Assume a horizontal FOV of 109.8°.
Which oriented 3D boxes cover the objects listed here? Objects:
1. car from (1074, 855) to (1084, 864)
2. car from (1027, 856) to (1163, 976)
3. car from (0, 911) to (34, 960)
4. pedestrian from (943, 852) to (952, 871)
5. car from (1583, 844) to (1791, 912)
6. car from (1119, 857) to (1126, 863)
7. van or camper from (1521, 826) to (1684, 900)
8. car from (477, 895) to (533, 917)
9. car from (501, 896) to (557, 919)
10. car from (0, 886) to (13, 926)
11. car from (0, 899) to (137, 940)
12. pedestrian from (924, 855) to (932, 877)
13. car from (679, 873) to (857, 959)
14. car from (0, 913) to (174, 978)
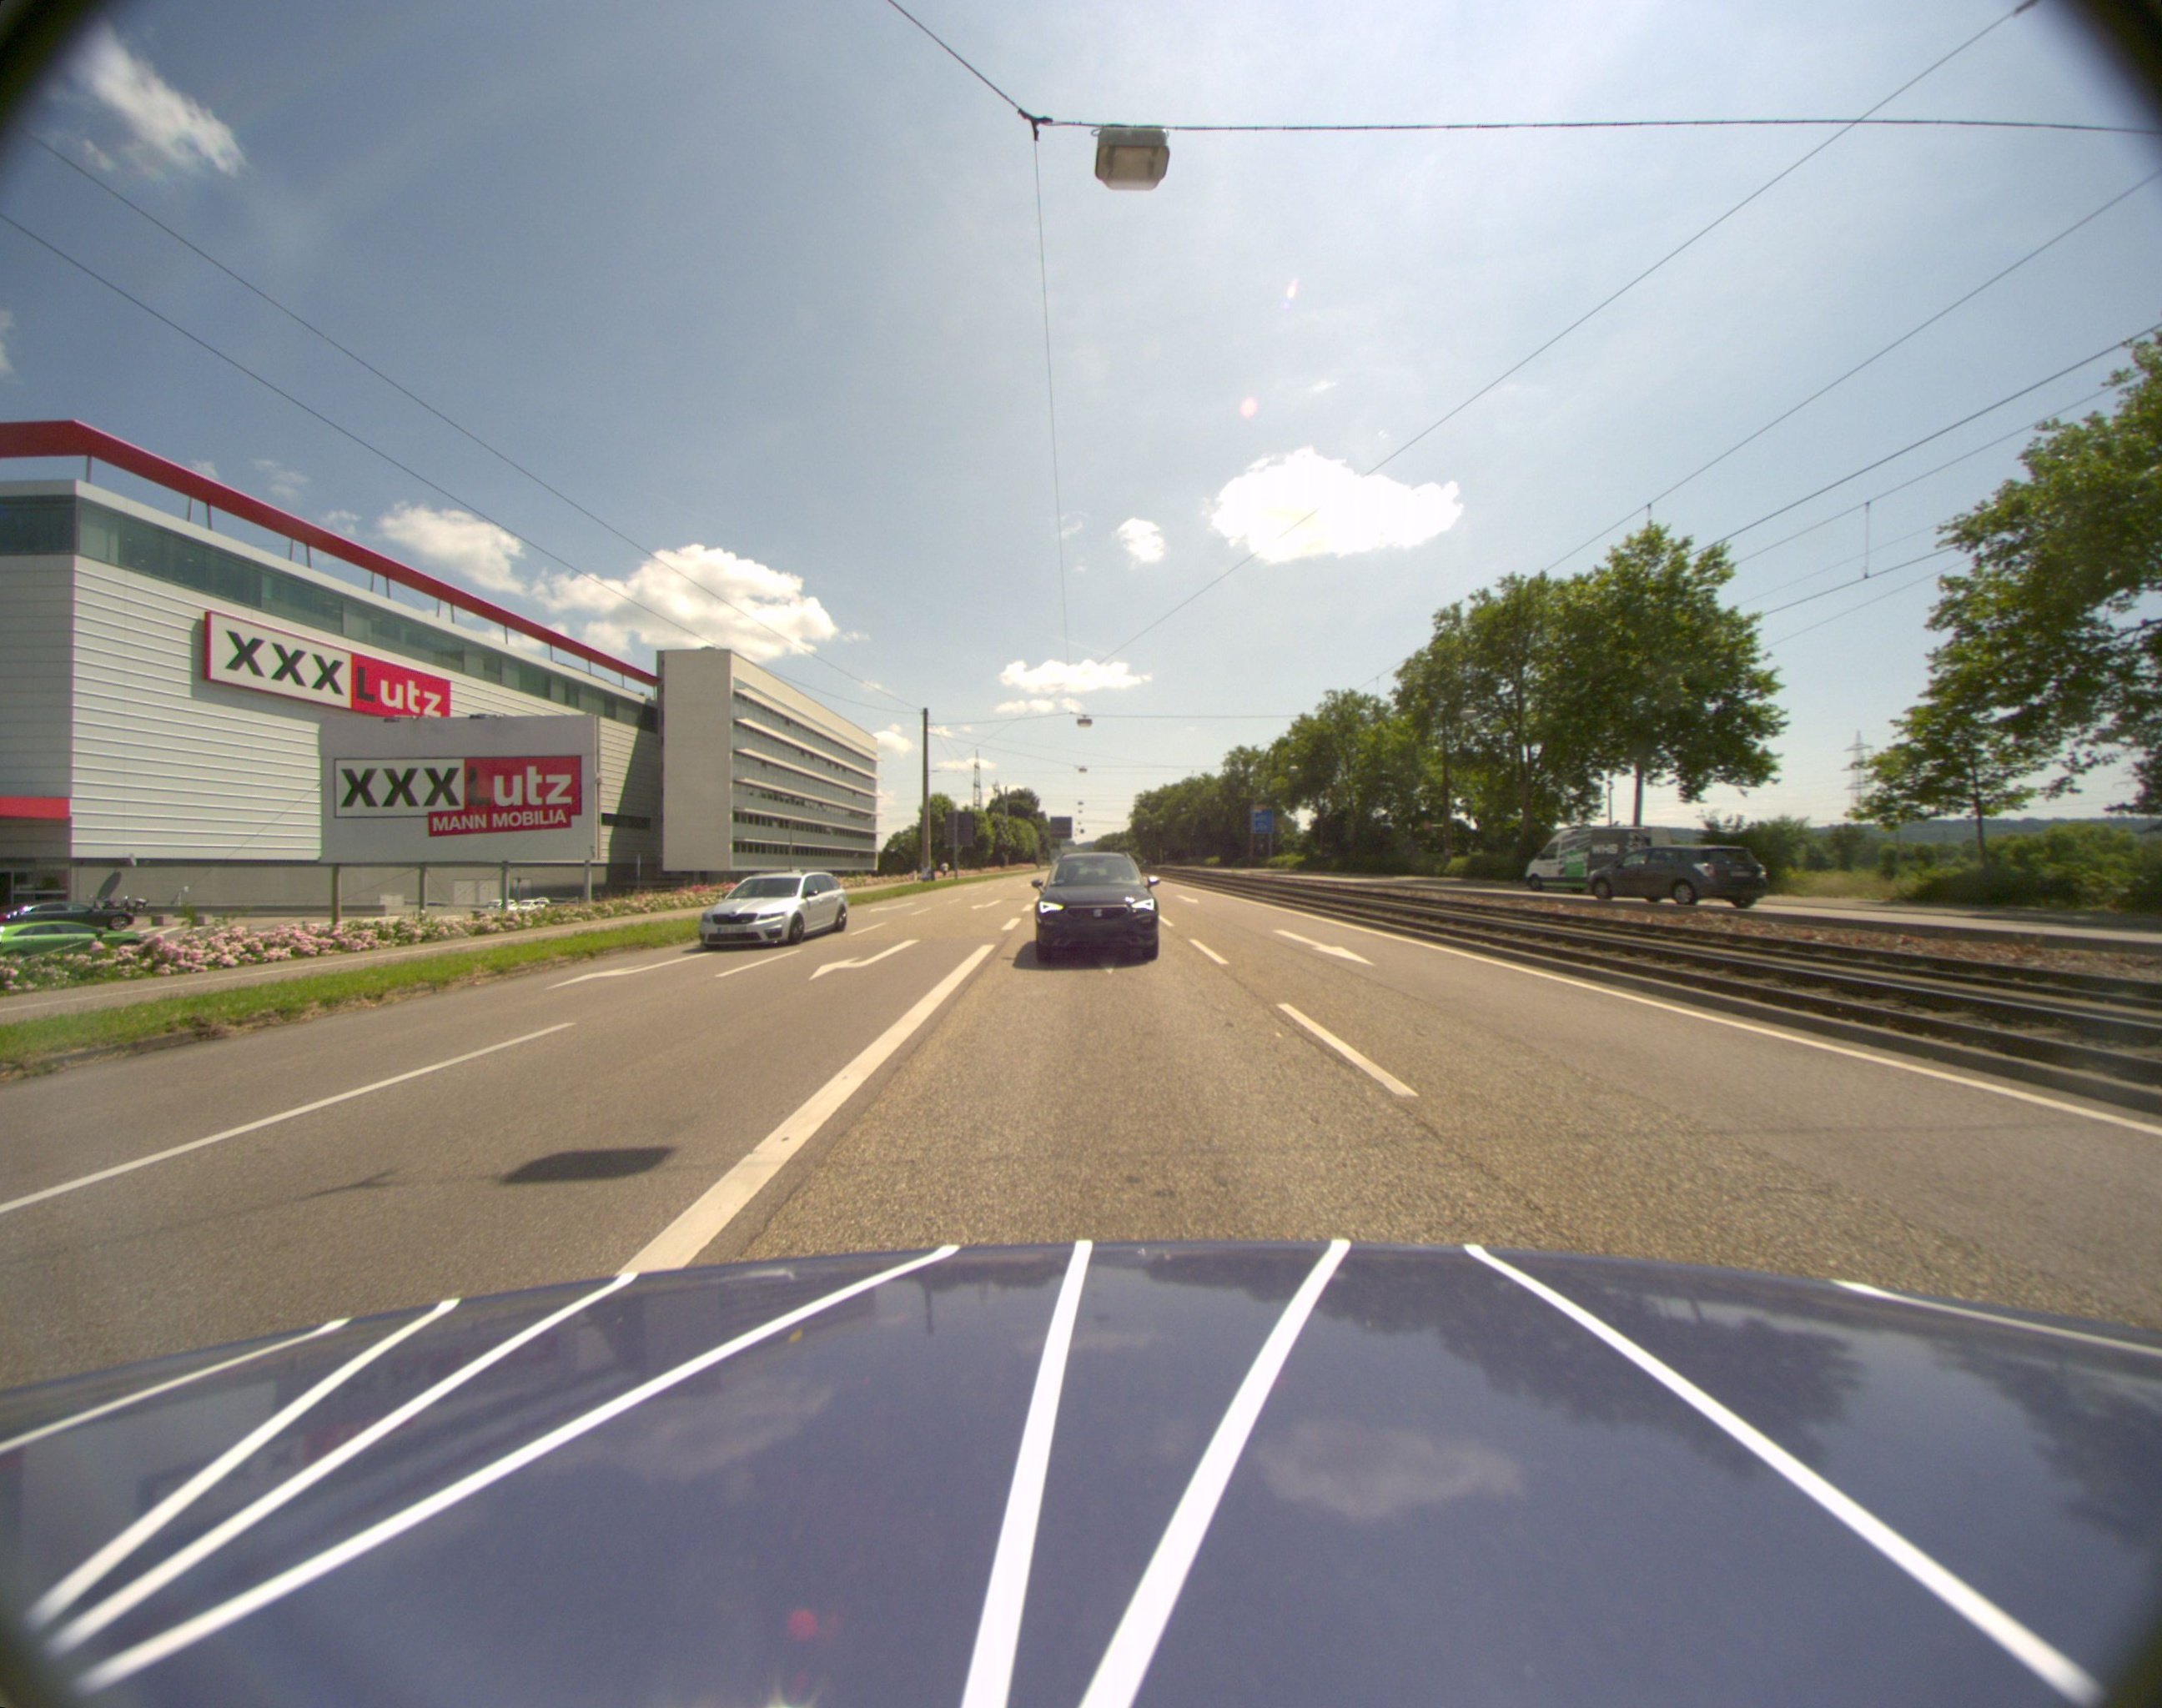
[{"bbox_3d":[-0.428,1.217,157.961,1.819,1.829,4.002,-1,0,4],"label":"car"},{"bbox_3d":[0.214,0.862,12.435,1.820,1.583,4.000,-2,0,0],"label":"car"},{"bbox_3d":[-36.618,2.743,23.538,1.998,1.546,4.520,-2,0,2],"label":"car"},{"bbox_3d":[-11.719,0.684,66.771,0.599,1.645,0.634,-2,1,0],"label":"pedestrian"},{"bbox_3d":[16.197,0.602,20.656,1.999,1.627,4.263,1,0,-5],"label":"car"},{"bbox_3d":[13.900,2.003,252.911,1.999,1.626,4.266,-1,-1,-1],"label":"car"},{"bbox_3d":[19.870,0.304,29.409,1.999,2.571,5.842,0,0,-4],"label":"van or camper"},{"bbox_3d":[-52.239,4.714,69.050,1.998,1.637,4.000,-2,0,0],"label":"car"},{"bbox_3d":[-49.407,4.769,68.086,1.998,1.637,4.000,-2,0,0],"label":"car"},{"bbox_3d":[-52.581,2.520,34.392,1.998,1.910,4.520,-2,0,2],"label":"car"},{"bbox_3d":[-44.826,2.825,33.118,1.698,1.392,4.519,-2,0,0],"label":"car"},{"bbox_3d":[-12.676,0.993,62.885,0.518,1.783,0.634,-2,1,0],"label":"pedestrian"},{"bbox_3d":[-6.269,1.166,15.850,1.802,1.390,4.460,-2,0,0],"label":"car"},{"bbox_3d":[-31.692,2.797,23.371,1.998,1.554,4.521,-2,0,4],"label":"car"}]
